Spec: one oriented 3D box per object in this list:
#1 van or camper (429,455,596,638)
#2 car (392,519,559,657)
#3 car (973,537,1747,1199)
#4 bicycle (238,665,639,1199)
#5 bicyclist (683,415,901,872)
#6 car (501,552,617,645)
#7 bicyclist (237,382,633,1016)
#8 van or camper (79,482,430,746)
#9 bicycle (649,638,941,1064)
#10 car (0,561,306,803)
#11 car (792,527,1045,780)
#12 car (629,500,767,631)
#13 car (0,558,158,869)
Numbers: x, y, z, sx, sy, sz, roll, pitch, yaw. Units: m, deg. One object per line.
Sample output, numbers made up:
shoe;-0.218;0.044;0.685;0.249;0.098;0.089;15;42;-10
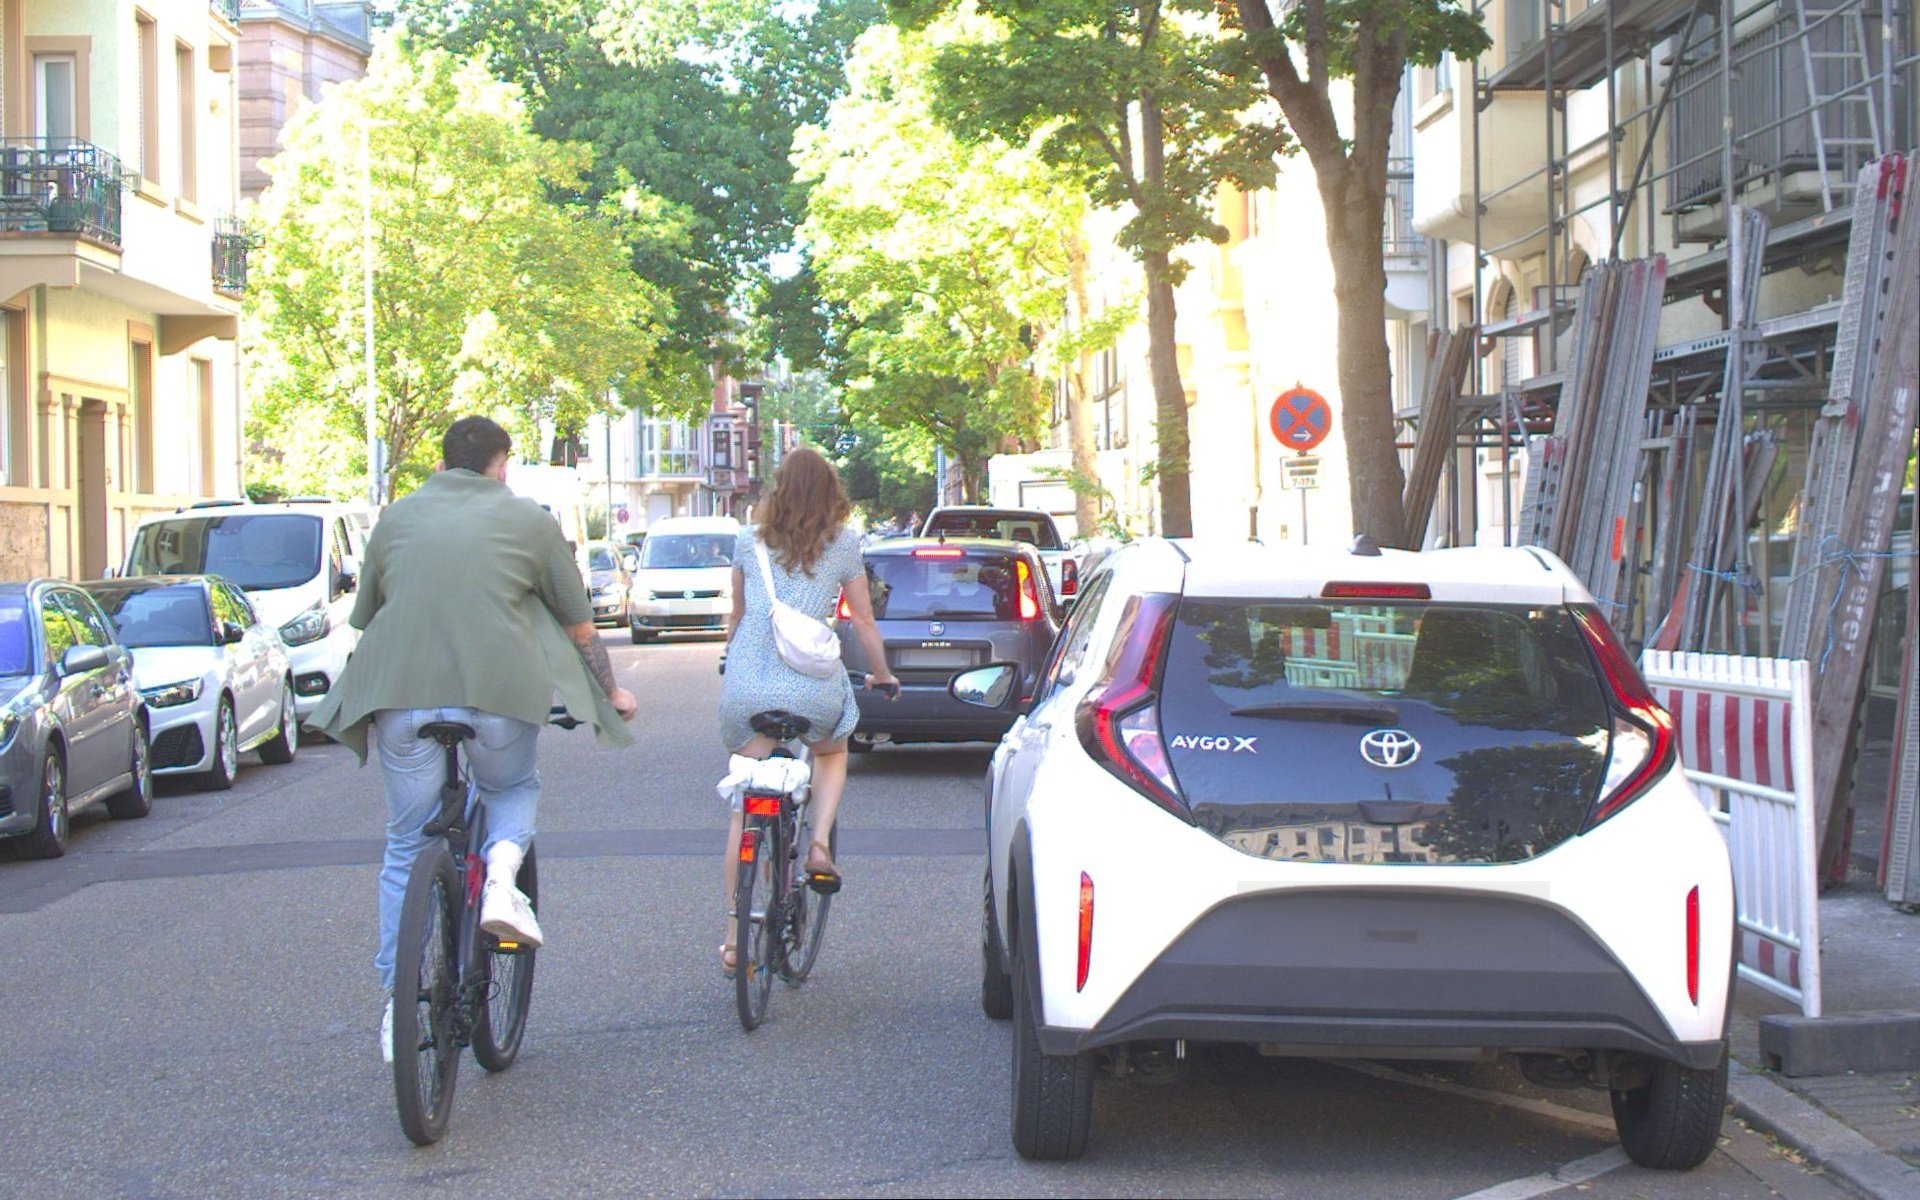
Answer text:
van or camper;-6.570;-0.818;50.915;1.993;2.544;5.024;-1;1;-3
car;-6.282;-0.198;44.928;1.710;1.693;4.001;-1;1;-2
car;0.916;0.598;9.506;1.675;1.540;3.404;0;1;-1
bicycle;-1.271;0.785;8.824;0.839;1.145;2.233;-1;1;-4
bicyclist;-0.546;0.152;10.903;0.623;1.376;0.868;-1;-3;-5
car;-7.166;-0.055;61.726;1.710;1.555;4.001;-1;1;-2
bicyclist;-1.350;0.258;8.993;0.881;1.556;0.868;-1;-2;-1
van or camper;-5.890;0.057;29.332;1.993;2.007;4.912;-2;1;-1
bicycle;-0.558;0.743;11.086;0.839;1.145;2.233;0;2;-4
car;-5.678;0.503;23.584;1.686;1.448;3.711;-2;1;-1
car;-0.260;0.298;23.160;1.556;1.527;3.487;1;2;0
car;-3.875;-0.540;51.422;1.782;1.854;4.199;-1;1;-1
car;-5.674;0.593;18.471;1.978;1.450;4.114;-5;2;-5
